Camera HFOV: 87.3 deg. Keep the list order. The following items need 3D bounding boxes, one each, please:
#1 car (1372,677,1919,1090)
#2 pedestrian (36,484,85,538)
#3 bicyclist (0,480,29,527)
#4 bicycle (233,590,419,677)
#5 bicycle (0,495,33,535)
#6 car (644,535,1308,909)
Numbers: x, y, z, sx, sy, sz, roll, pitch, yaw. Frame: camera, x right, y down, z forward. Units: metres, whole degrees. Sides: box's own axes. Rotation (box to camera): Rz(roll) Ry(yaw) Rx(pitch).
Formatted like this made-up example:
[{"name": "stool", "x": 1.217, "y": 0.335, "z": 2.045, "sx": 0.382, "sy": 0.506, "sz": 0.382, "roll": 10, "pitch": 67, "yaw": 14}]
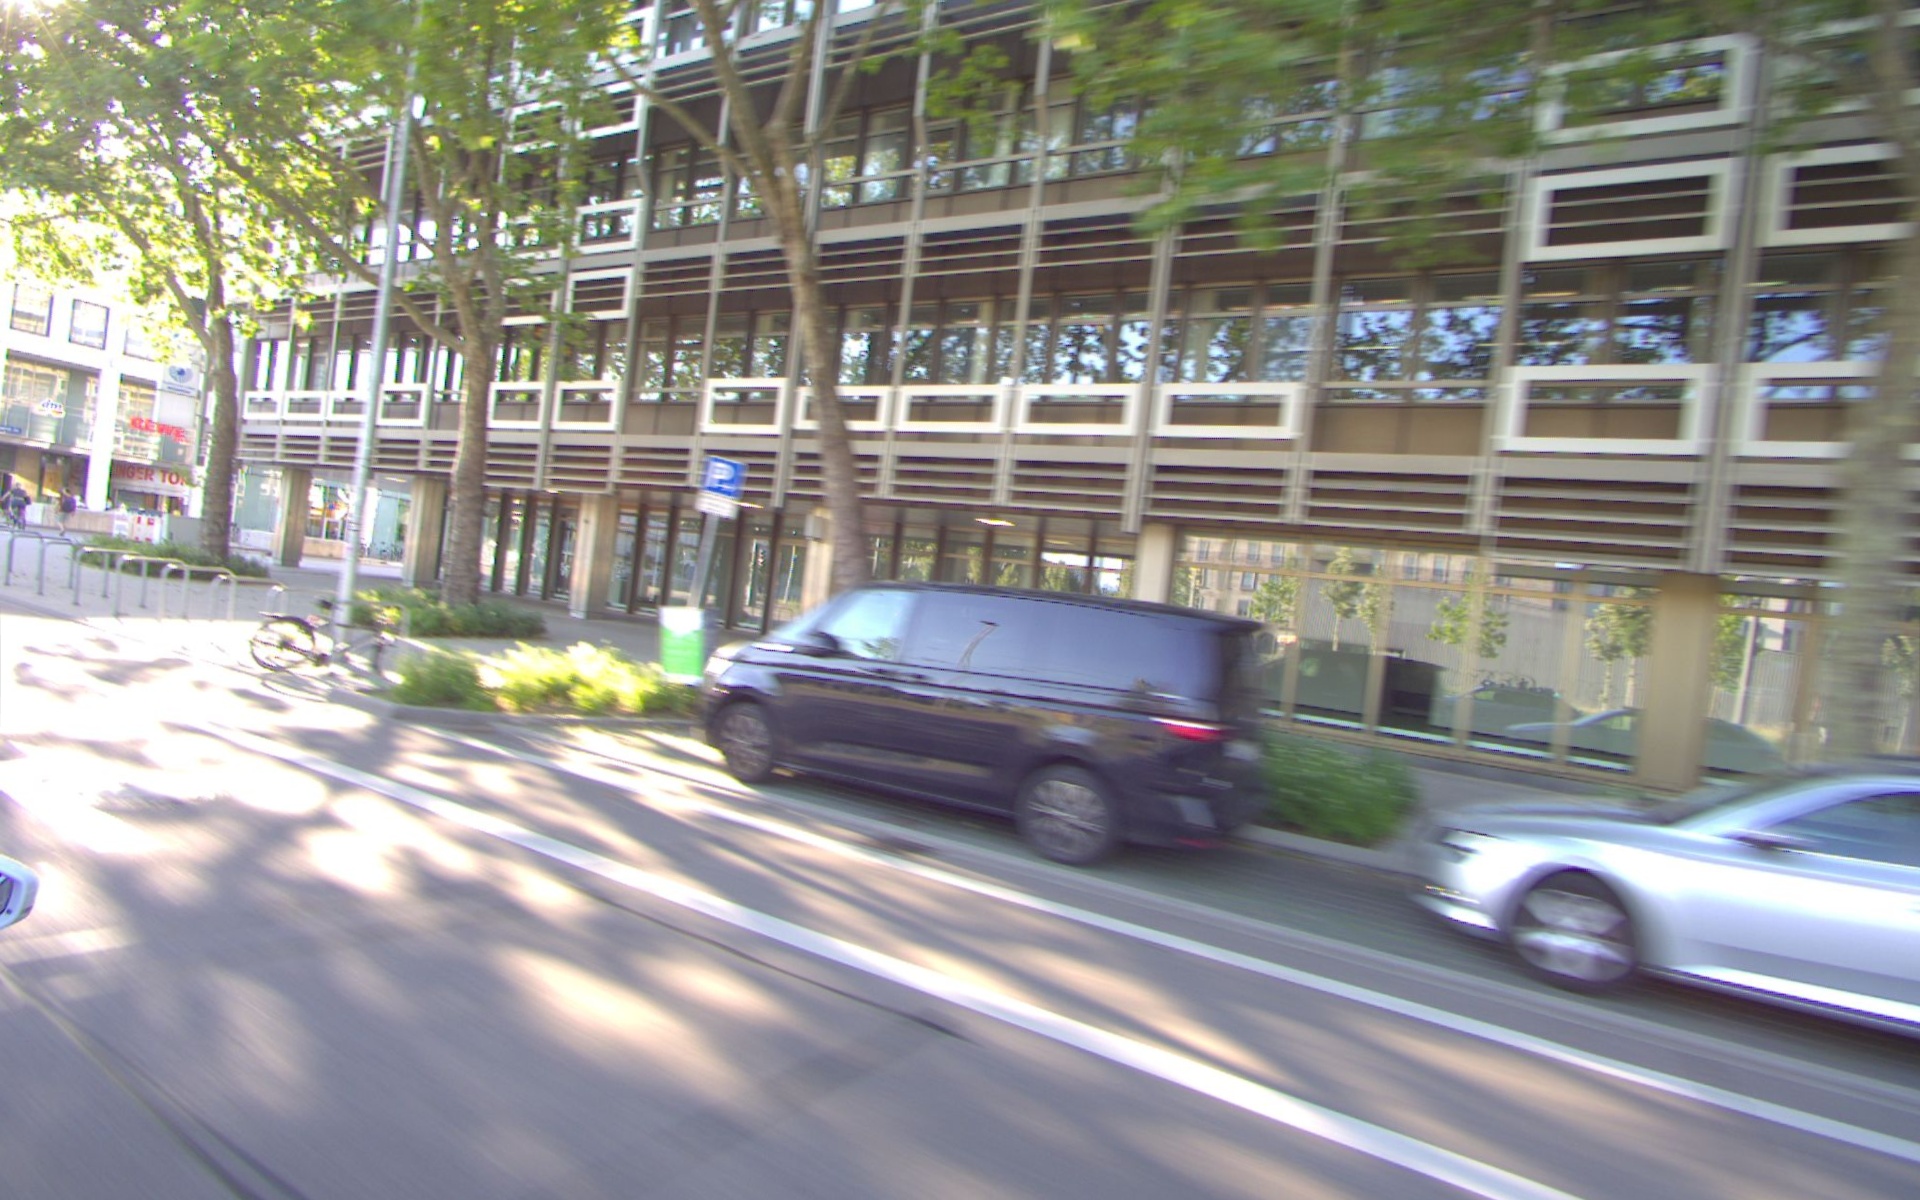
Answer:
[{"name": "car", "x": 5.033, "y": 1.539, "z": 5.239, "sx": 4.979, "sy": 1.534, "sz": 1.681, "roll": 7, "pitch": 2, "yaw": 35}, {"name": "pedestrian", "x": -32.189, "y": -3.189, "z": 35.999, "sx": 1.095, "sy": 1.724, "sz": 0.910, "roll": 7, "pitch": 0, "yaw": 32}, {"name": "bicyclist", "x": -33.227, "y": -3.383, "z": 35.248, "sx": 0.737, "sy": 1.541, "sz": 0.579, "roll": 7, "pitch": 0, "yaw": 32}, {"name": "bicycle", "x": -7.301, "y": 0.405, "z": 11.651, "sx": 0.564, "sy": 0.878, "sz": 1.690, "roll": 7, "pitch": 1, "yaw": 39}, {"name": "bicycle", "x": -33.391, "y": -3.018, "z": 35.323, "sx": 2.118, "sy": 1.247, "sz": 0.592, "roll": 7, "pitch": 0, "yaw": 32}, {"name": "car", "x": -0.067, "y": 0.727, "z": 8.477, "sx": 5.232, "sy": 1.997, "sz": 1.830, "roll": 7, "pitch": 2, "yaw": 31}]
